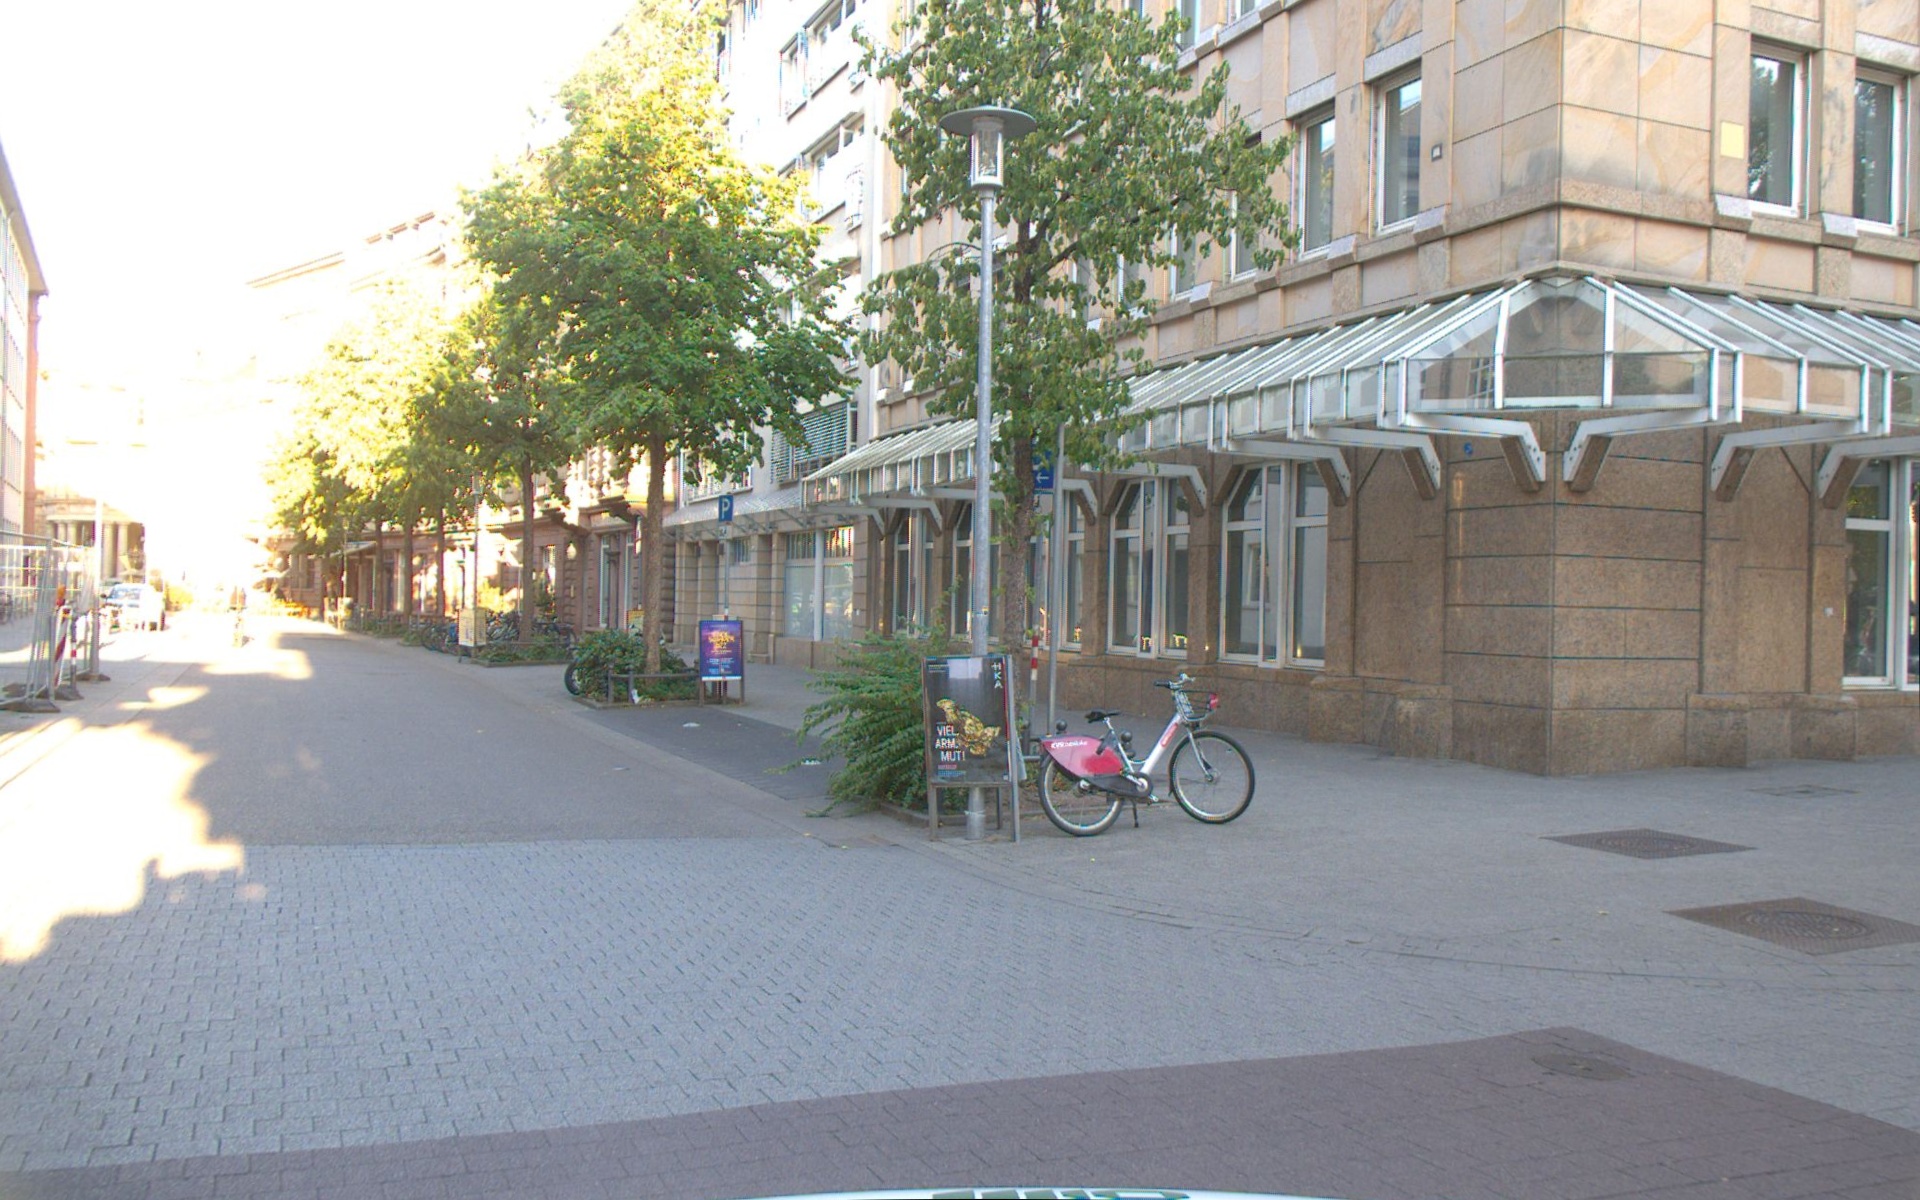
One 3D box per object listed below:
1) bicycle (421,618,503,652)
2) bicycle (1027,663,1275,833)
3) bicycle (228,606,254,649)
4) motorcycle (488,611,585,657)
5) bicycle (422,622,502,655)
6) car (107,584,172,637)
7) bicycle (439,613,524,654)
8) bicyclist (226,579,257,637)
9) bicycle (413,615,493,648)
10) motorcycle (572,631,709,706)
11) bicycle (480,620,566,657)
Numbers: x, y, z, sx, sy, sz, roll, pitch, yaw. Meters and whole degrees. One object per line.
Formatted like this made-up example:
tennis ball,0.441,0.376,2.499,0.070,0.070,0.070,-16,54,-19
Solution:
bicycle,-13.925,0.970,46.302,2.131,0.942,0.584,1,-1,-32
bicycle,1.340,1.032,11.749,1.624,1.069,0.662,-2,1,-6
bicycle,-19.069,0.710,43.855,0.581,1.114,2.143,1,-1,-25
motorcycle,-10.719,0.854,41.920,0.580,1.114,2.462,0,-1,43
bicycle,-14.230,1.095,47.292,2.131,0.942,0.584,1,-1,-32
car,-27.672,0.330,55.718,1.821,1.713,3.610,1,0,-29
bicycle,-12.831,0.900,44.368,2.114,1.080,0.589,0,-1,-10
bicyclist,-18.968,0.212,43.674,0.712,1.494,0.712,1,0,-26
bicycle,-14.743,0.913,48.107,2.131,0.942,0.584,1,-1,-32
motorcycle,-5.149,1.086,26.690,2.127,1.171,0.489,1,-1,-27
bicycle,-11.324,0.988,42.908,2.139,0.942,0.582,1,-1,-40
